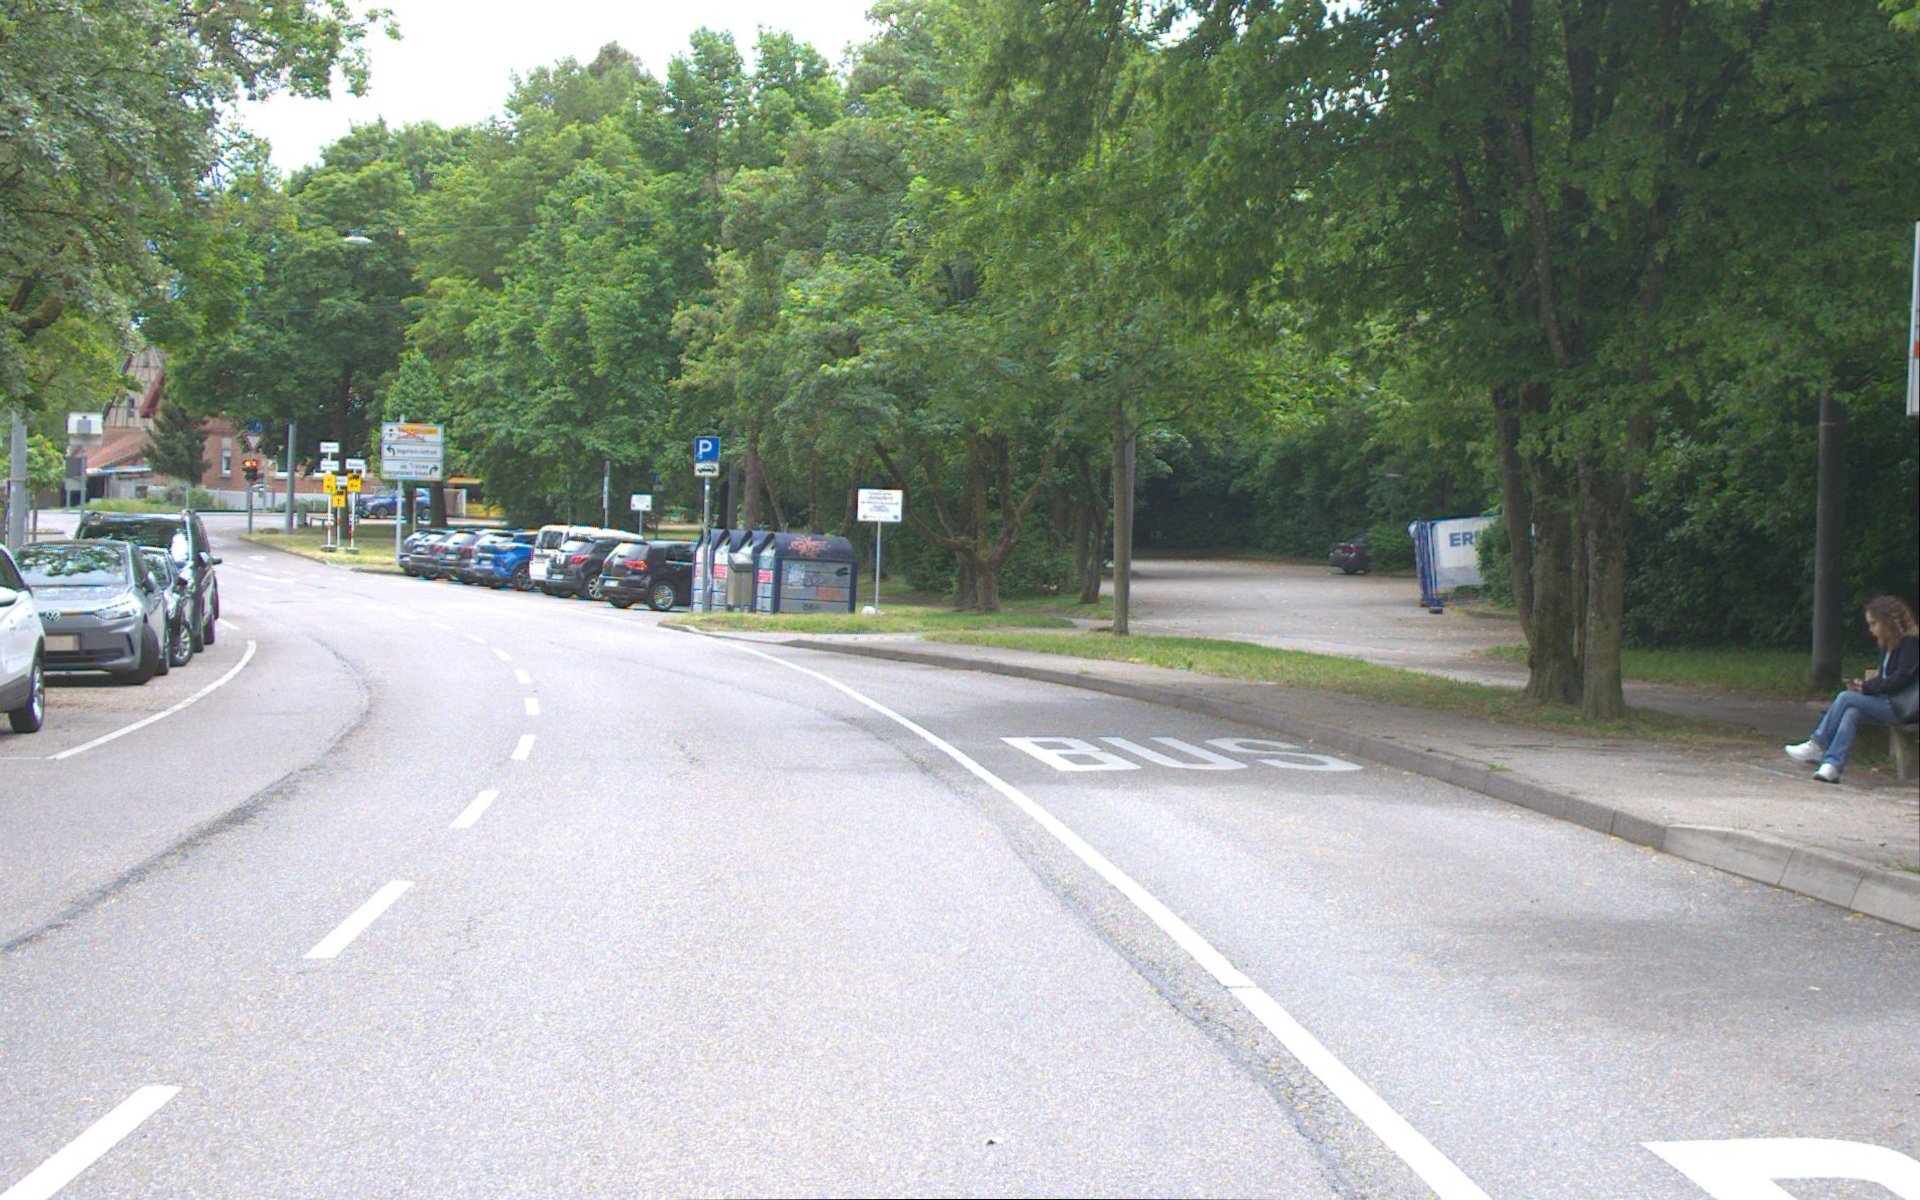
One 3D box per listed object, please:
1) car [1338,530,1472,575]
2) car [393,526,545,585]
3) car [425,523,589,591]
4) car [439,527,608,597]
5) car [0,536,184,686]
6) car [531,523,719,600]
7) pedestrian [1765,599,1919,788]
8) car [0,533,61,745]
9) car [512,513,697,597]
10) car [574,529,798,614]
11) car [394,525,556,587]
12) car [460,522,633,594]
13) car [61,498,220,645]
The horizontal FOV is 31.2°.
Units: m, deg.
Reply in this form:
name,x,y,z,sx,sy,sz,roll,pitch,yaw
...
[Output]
name,x,y,z,sx,sy,sz,roll,pitch,yaw
car,14.557,-1.560,112.563,3.986,1.405,1.801,1,1,-10
car,-13.975,-1.269,97.878,3.819,1.420,1.746,4,-1,-35
car,-11.884,-1.124,90.204,3.819,1.523,1.746,4,-1,-35
car,-11.121,-0.974,87.619,3.819,1.523,1.746,4,-1,-35
car,-9.638,0.080,37.717,1.865,1.533,4.228,1,1,-8
car,-7.638,-0.879,78.479,3.819,1.463,1.746,4,1,-35
pedestrian,5.800,0.597,22.087,1.063,1.178,0.580,1,1,-8
car,-8.061,0.277,26.124,1.735,1.573,4.142,0,1,-5
car,-8.371,-1.058,81.130,3.819,1.714,1.878,4,0,-35
car,-5.603,-0.577,70.353,3.987,1.409,2.058,4,1,-35
car,-13.139,-1.196,93.136,3.873,1.421,1.830,4,-1,-35
car,-10.284,-1.042,85.525,3.819,1.523,1.746,4,-1,-35
car,-11.282,-0.416,47.606,1.857,1.902,5.084,1,1,-10
